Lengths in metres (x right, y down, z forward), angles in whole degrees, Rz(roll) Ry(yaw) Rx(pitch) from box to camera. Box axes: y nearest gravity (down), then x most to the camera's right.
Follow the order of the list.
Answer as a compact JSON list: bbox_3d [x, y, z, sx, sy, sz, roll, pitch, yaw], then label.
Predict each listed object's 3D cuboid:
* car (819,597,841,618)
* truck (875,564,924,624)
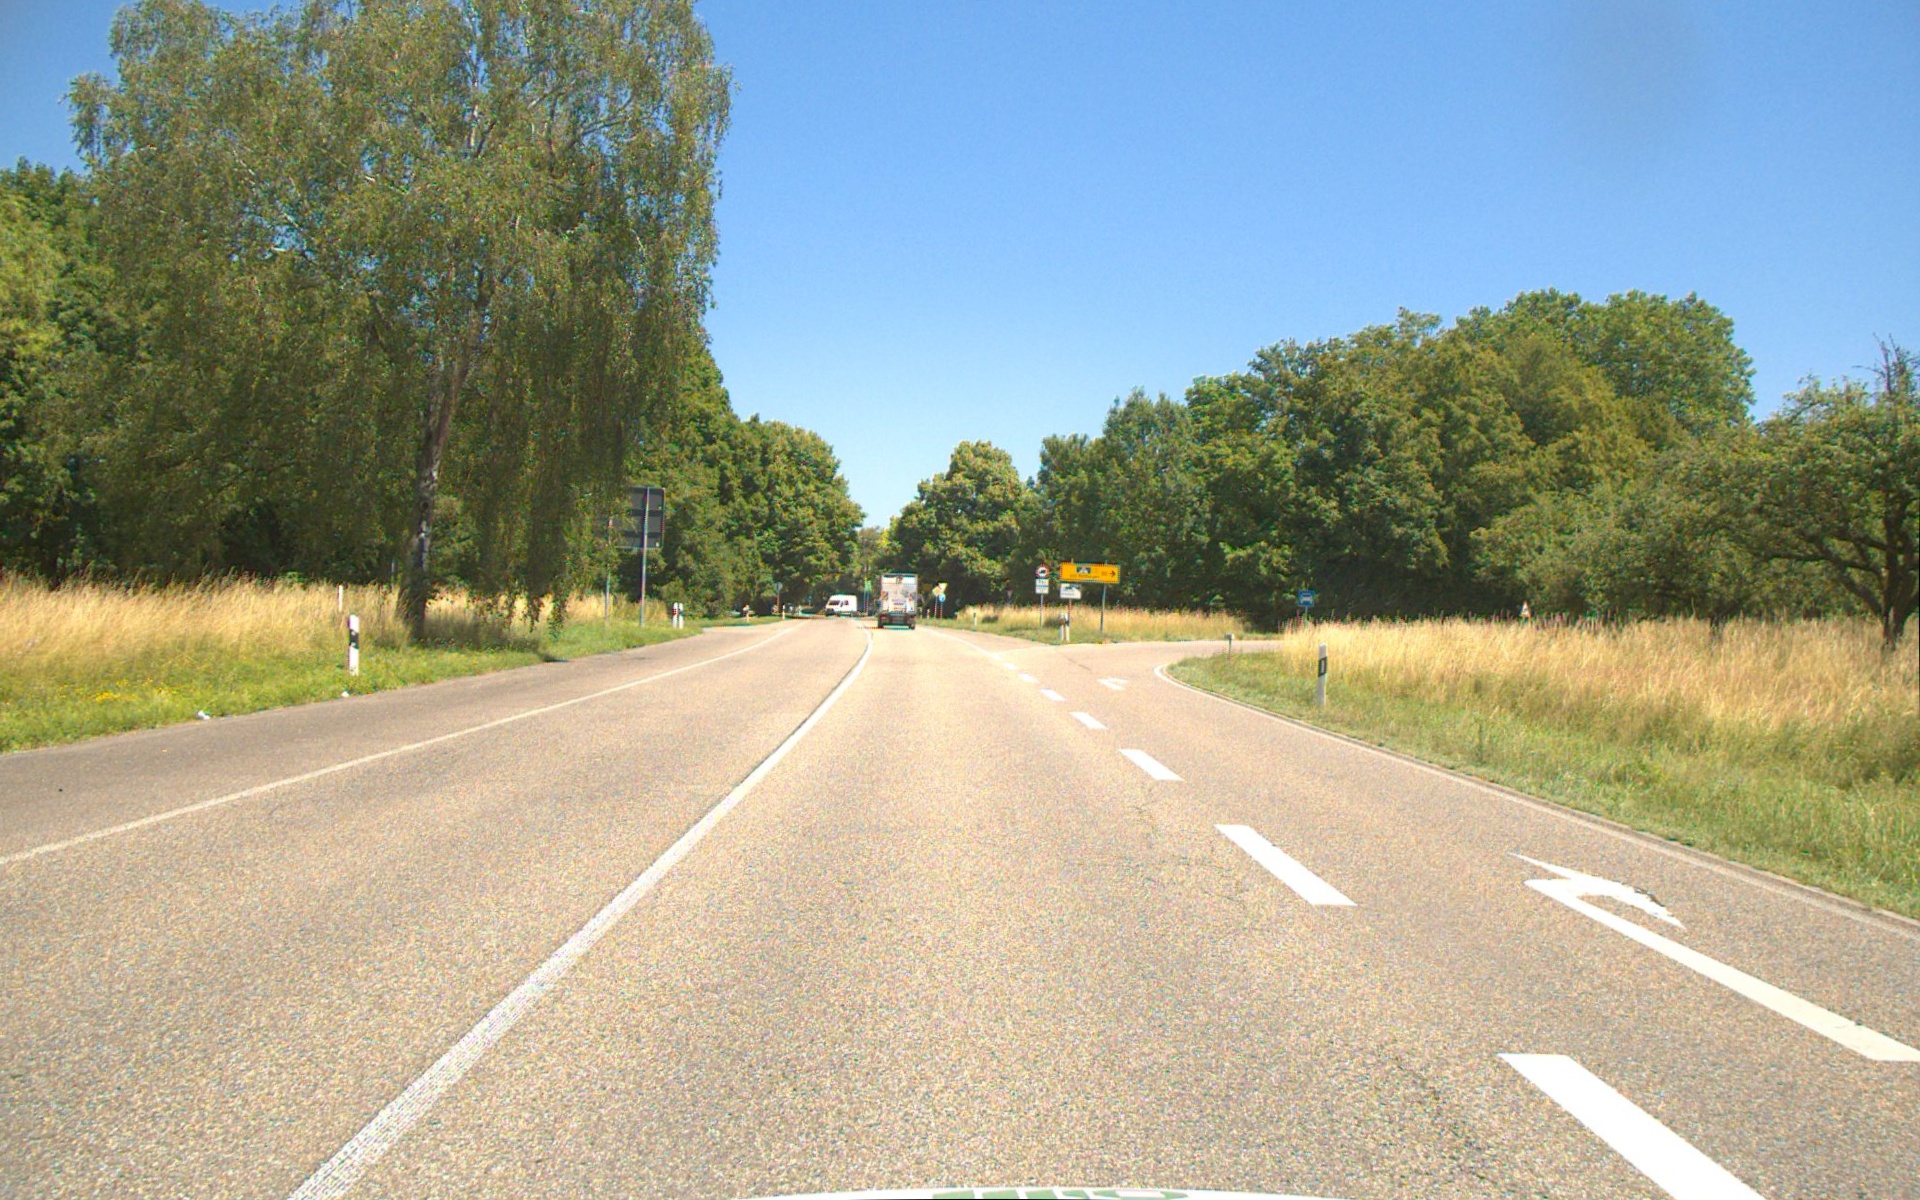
[{"bbox_3d":[-16.678,0.976,211.748,2.030,2.673,6.785,1,-1,2],"label":"car"},{"bbox_3d":[-3.335,-0.345,92.349,2.482,3.190,5.360,1,0,0],"label":"truck"}]
